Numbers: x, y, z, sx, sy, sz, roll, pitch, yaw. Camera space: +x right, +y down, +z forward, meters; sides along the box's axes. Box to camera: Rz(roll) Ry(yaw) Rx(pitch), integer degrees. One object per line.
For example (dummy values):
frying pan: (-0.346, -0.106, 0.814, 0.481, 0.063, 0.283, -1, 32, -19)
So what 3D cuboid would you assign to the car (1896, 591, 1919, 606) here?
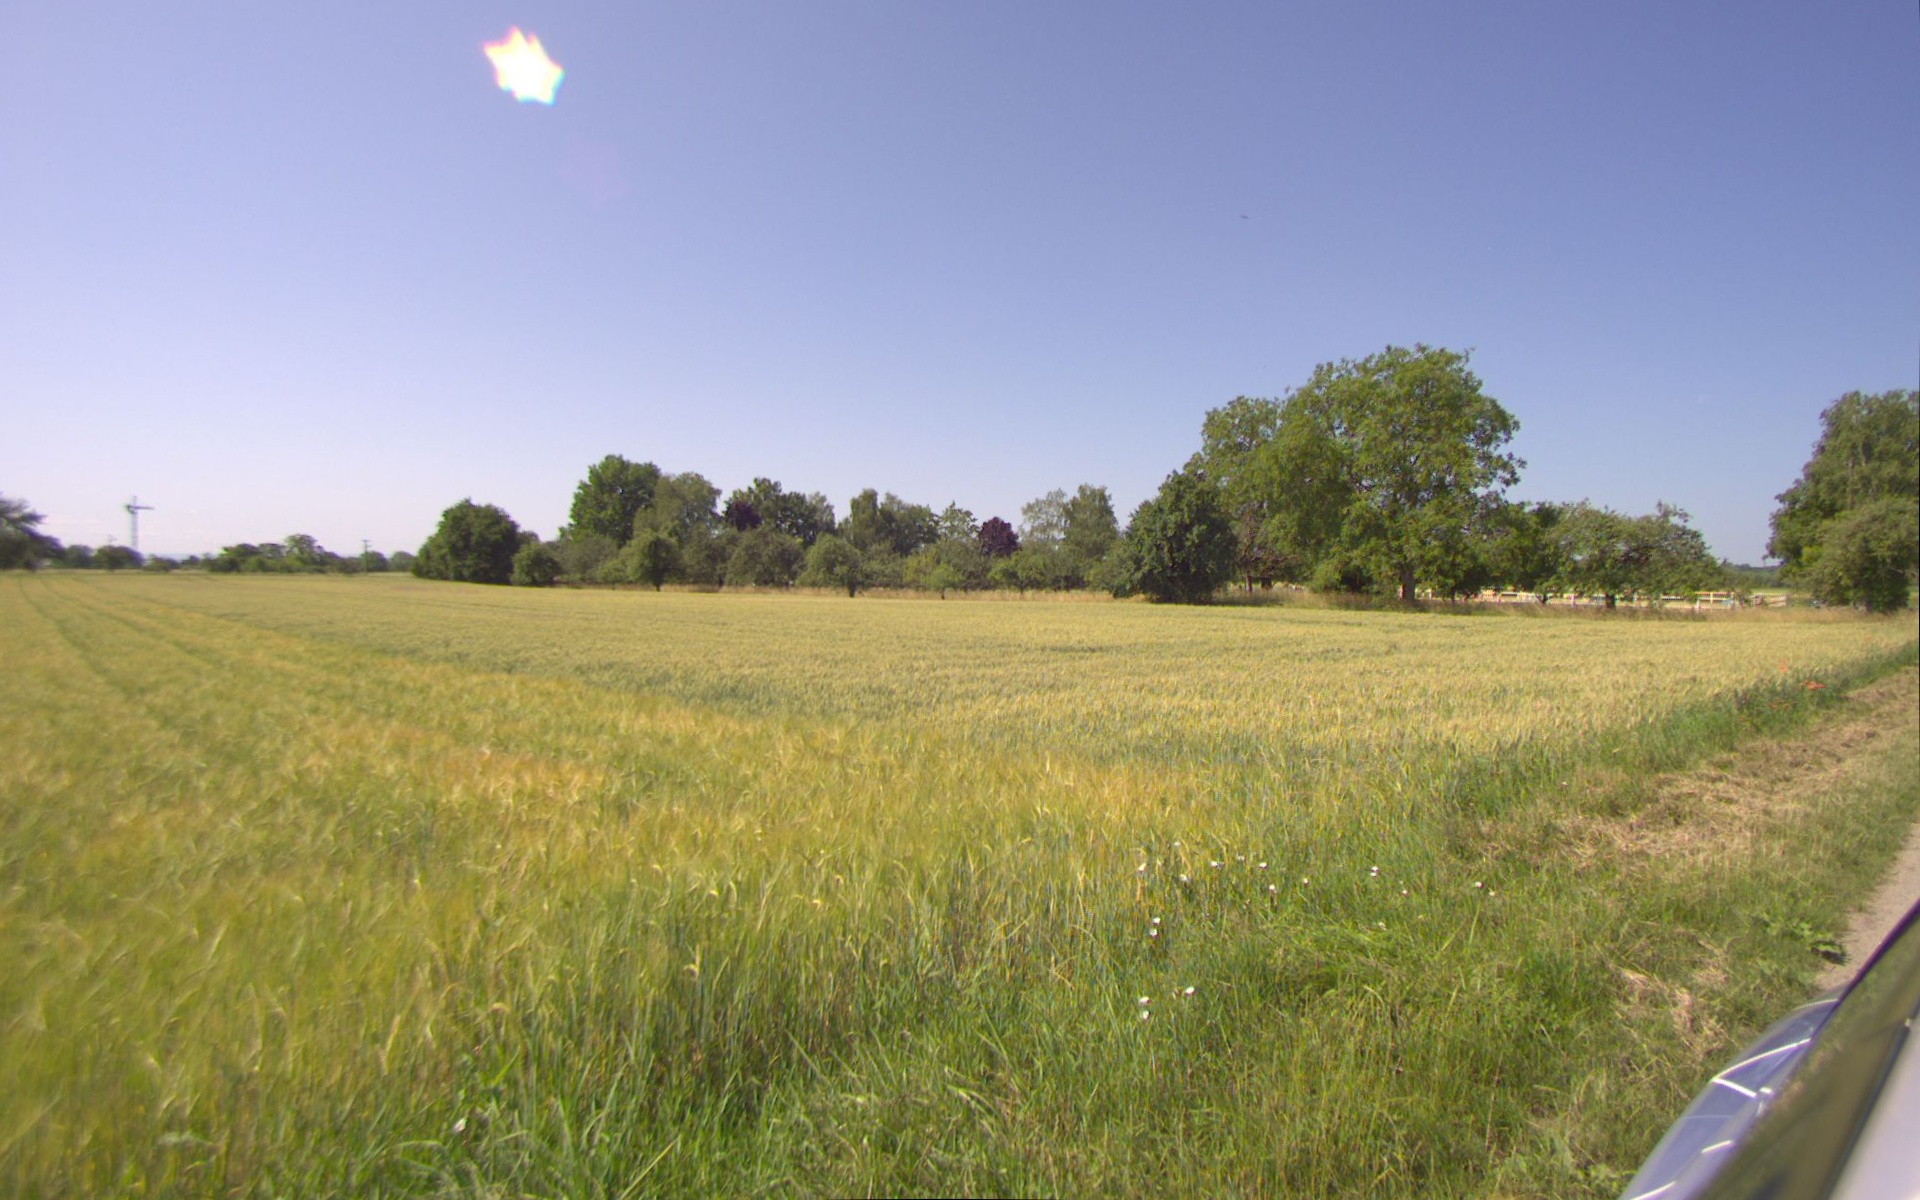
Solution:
car: (83.707, -0.140, 89.109, 1.715, 1.336, 3.689, 1, 1, 40)
